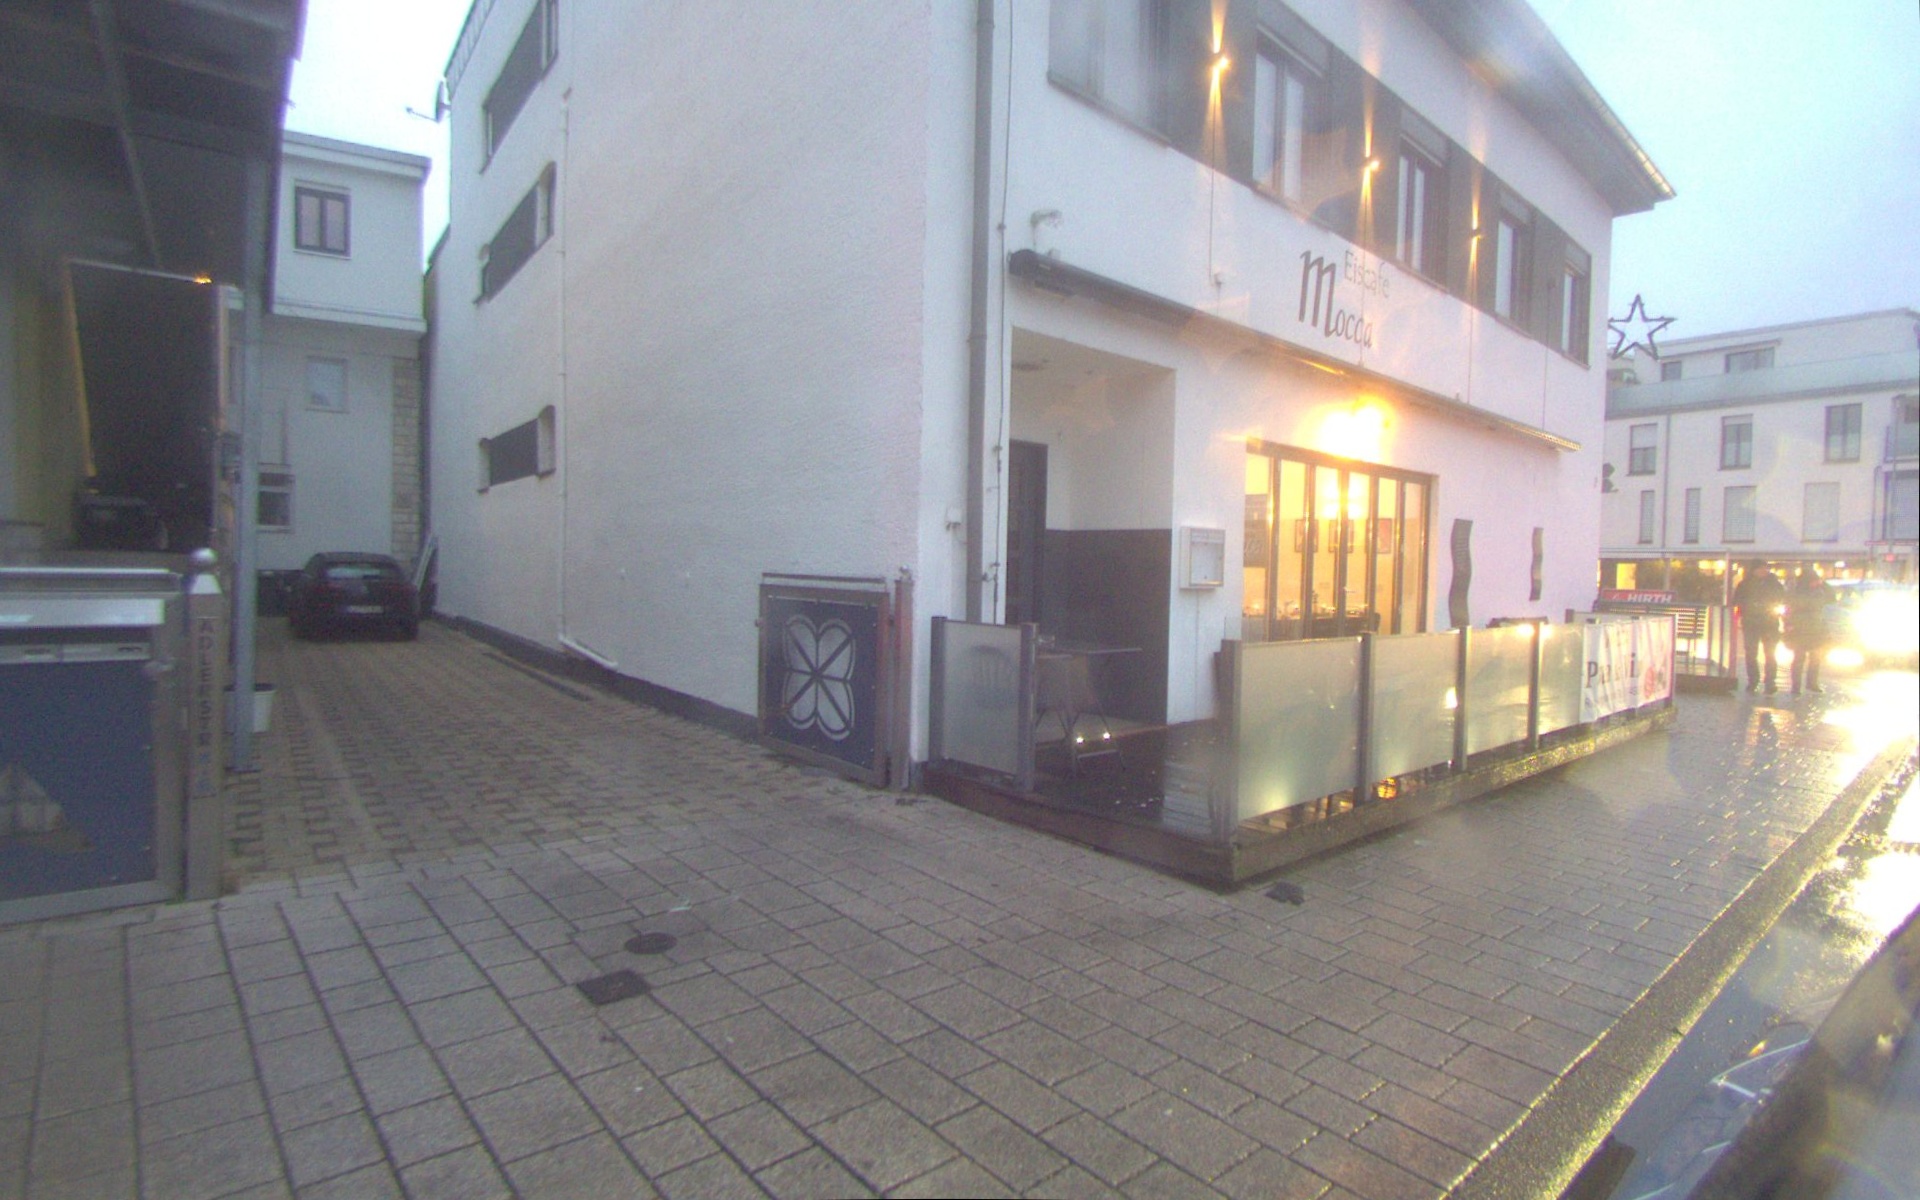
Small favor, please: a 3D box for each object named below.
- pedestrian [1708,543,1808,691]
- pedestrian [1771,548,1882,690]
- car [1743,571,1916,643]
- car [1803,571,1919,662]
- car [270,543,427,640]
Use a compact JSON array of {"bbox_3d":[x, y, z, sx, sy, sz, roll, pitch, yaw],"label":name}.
[{"bbox_3d":[10.557,0.214,13.411,0.696,1.889,0.791,-1,1,3],"label":"pedestrian"},{"bbox_3d":[11.296,0.228,13.215,0.754,1.783,0.791,-1,1,3],"label":"pedestrian"},{"bbox_3d":[23.701,0.136,27.613,3.916,1.767,1.830,-2,2,-18],"label":"car"},{"bbox_3d":[18.218,0.240,19.392,2.007,1.497,4.521,-1,2,24],"label":"car"},{"bbox_3d":[-10.896,-0.197,17.906,1.901,1.433,3.962,3,2,-38],"label":"car"}]
